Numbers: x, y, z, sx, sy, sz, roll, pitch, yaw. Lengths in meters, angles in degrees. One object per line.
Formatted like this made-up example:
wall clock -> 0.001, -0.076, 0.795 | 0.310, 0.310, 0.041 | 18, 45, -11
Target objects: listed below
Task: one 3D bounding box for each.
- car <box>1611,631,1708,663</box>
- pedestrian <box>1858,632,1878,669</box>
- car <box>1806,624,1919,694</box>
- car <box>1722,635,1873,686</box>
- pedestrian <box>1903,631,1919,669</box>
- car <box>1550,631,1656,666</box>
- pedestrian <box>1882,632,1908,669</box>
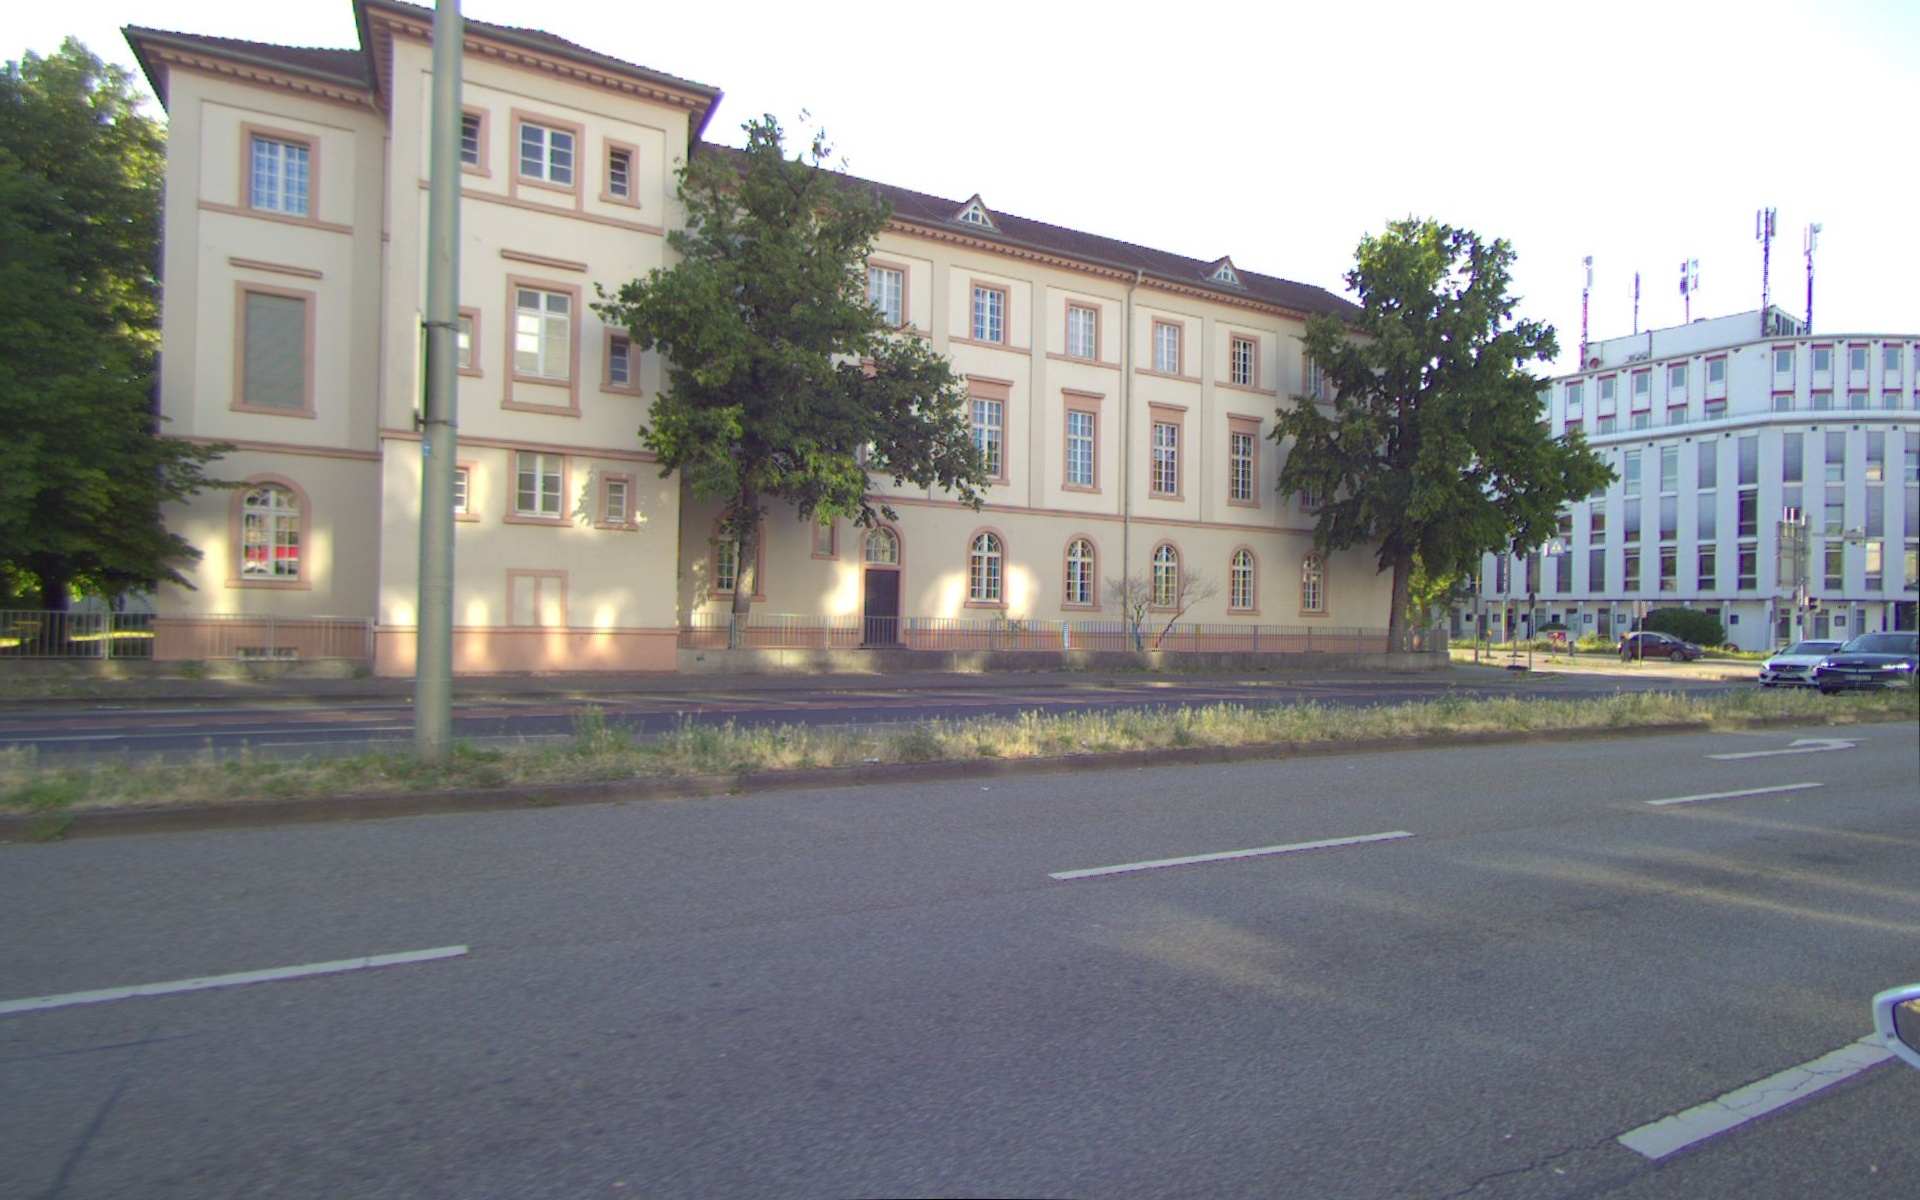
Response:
car -> 36.395, 2.461, 52.349 | 1.842, 1.550, 3.789 | 4, -4, -31
pedestrian -> 47.156, 2.631, 52.176 | 0.772, 1.883, 0.654 | 2, -1, -40
car -> 23.483, 1.450, 25.147 | 4.841, 1.599, 1.985 | 2, -1, -30
car -> 25.229, 1.806, 30.240 | 4.387, 1.432, 1.986 | 2, -2, -28
pedestrian -> 48.155, 2.537, 50.564 | 0.763, 1.893, 0.662 | 1, -1, -2
car -> 33.441, 2.503, 52.383 | 1.972, 1.650, 4.334 | 2, -1, -24
pedestrian -> 47.999, 2.571, 51.577 | 0.808, 1.866, 0.756 | 2, -1, -27
